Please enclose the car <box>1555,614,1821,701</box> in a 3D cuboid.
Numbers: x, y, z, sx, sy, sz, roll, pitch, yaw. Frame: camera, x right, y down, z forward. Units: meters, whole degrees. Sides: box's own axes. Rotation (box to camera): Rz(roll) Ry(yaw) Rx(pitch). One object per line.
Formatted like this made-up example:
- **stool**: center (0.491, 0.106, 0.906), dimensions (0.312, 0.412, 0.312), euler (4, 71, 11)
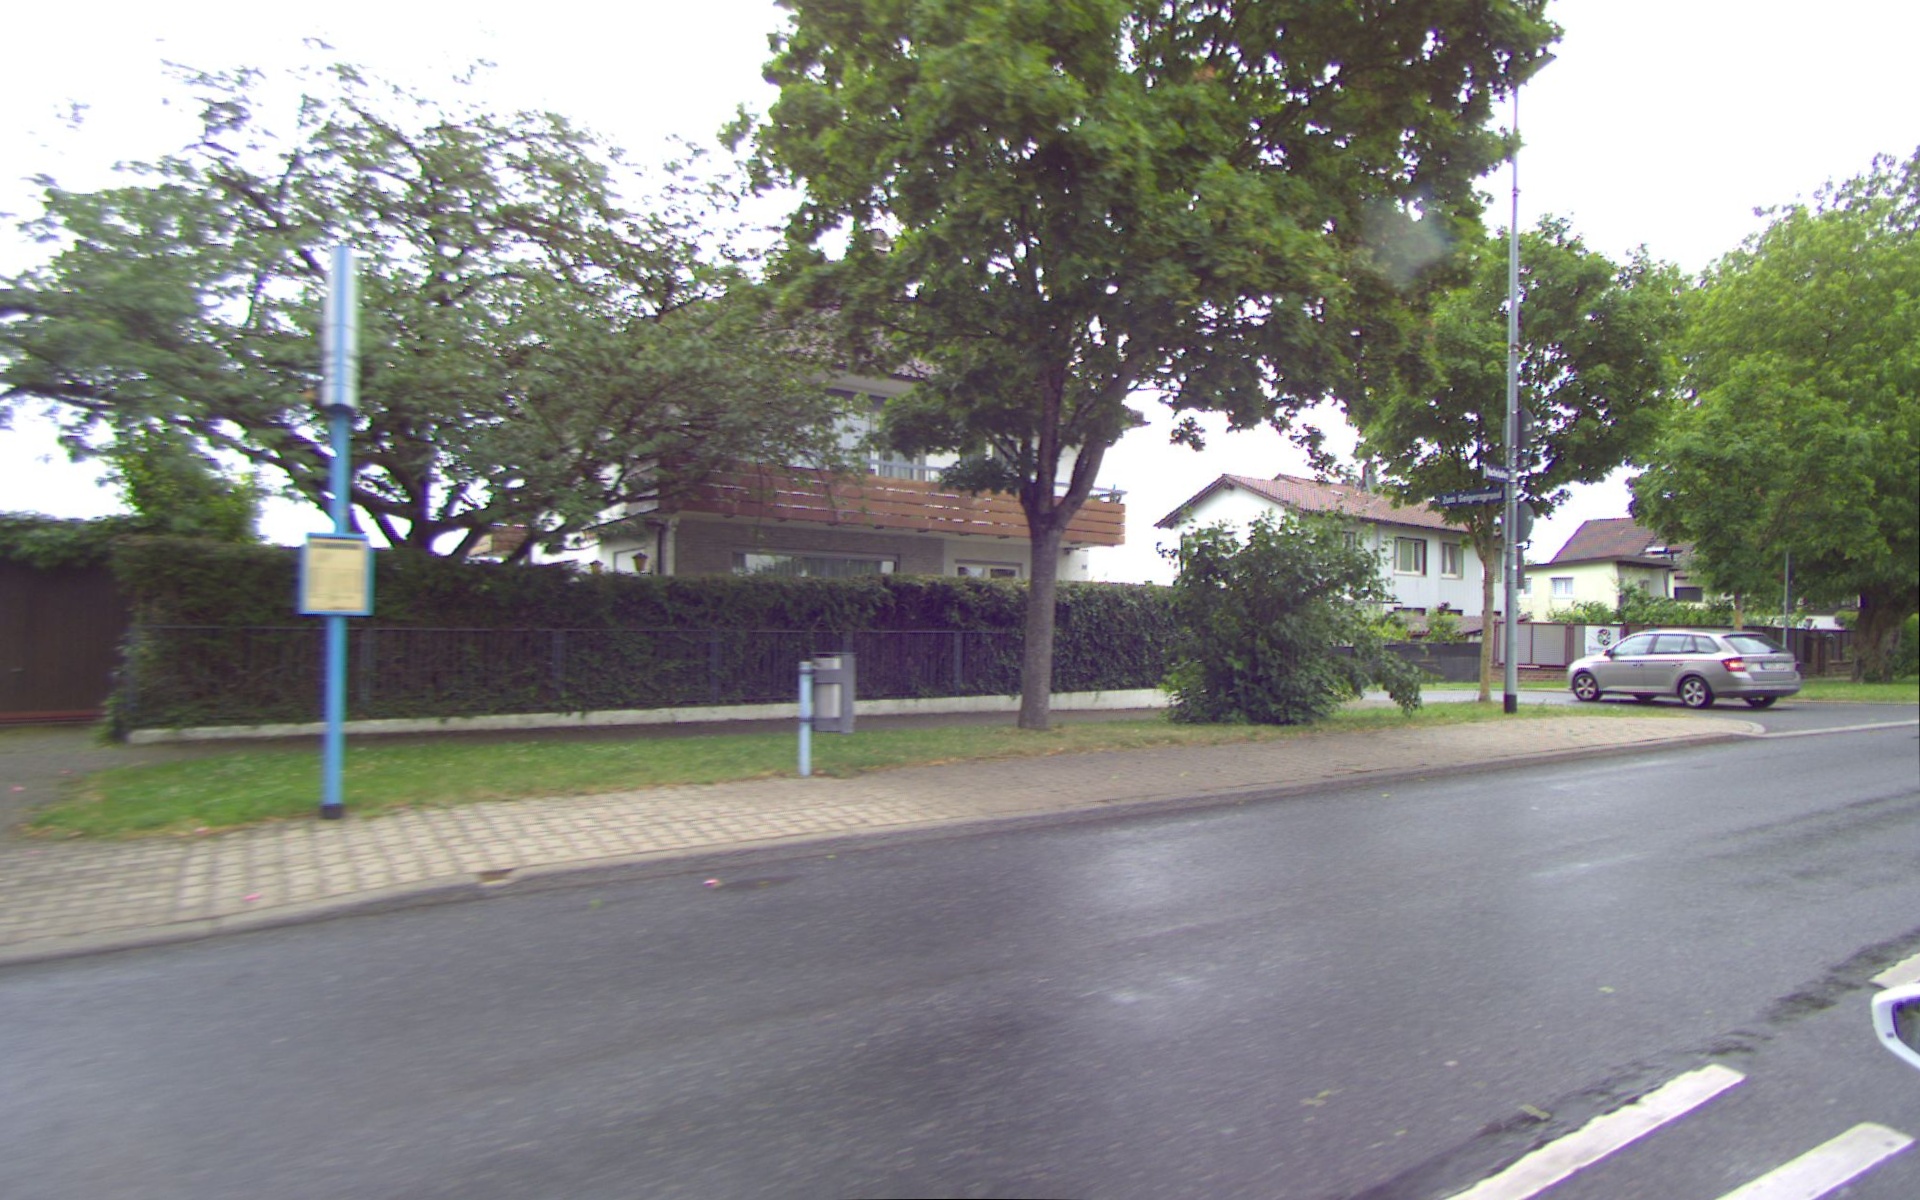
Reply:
- **car**: center (14.014, 1.091, 19.659), dimensions (1.815, 1.506, 3.990), euler (1, -2, -13)
